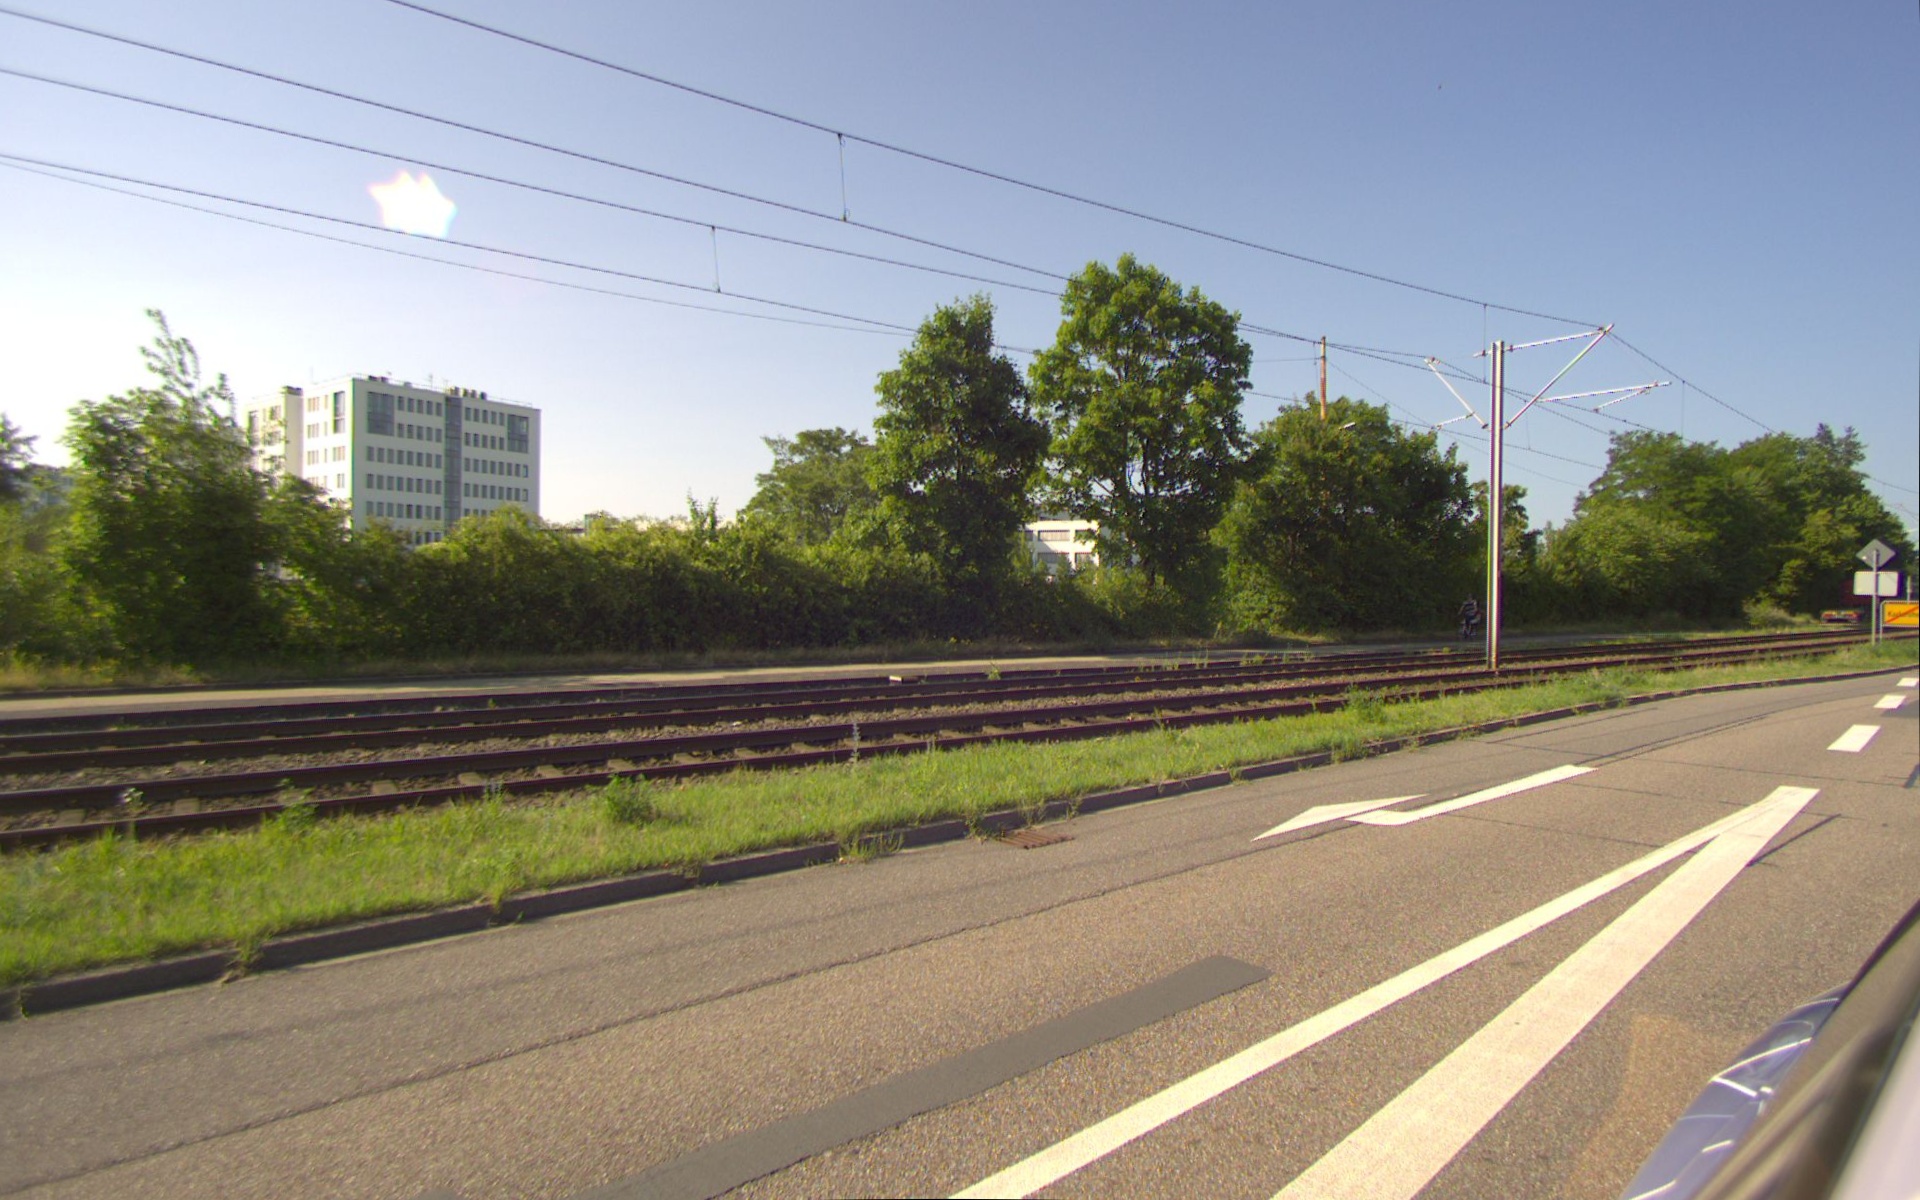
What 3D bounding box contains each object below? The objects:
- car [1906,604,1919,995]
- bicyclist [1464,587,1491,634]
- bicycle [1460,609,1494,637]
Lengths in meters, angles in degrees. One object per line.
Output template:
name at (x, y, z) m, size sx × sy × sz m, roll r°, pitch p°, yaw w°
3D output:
car at (5.765, 0.735, 4.510) m, size 4.383 × 1.442 × 1.819 m, roll 0°, pitch 0°, yaw -41°
bicyclist at (20.210, 0.405, 39.512) m, size 0.705 × 1.830 × 0.707 m, roll 0°, pitch 0°, yaw -40°
bicycle at (20.187, 0.880, 39.486) m, size 1.841 × 1.060 × 0.546 m, roll 0°, pitch 1°, yaw -42°
